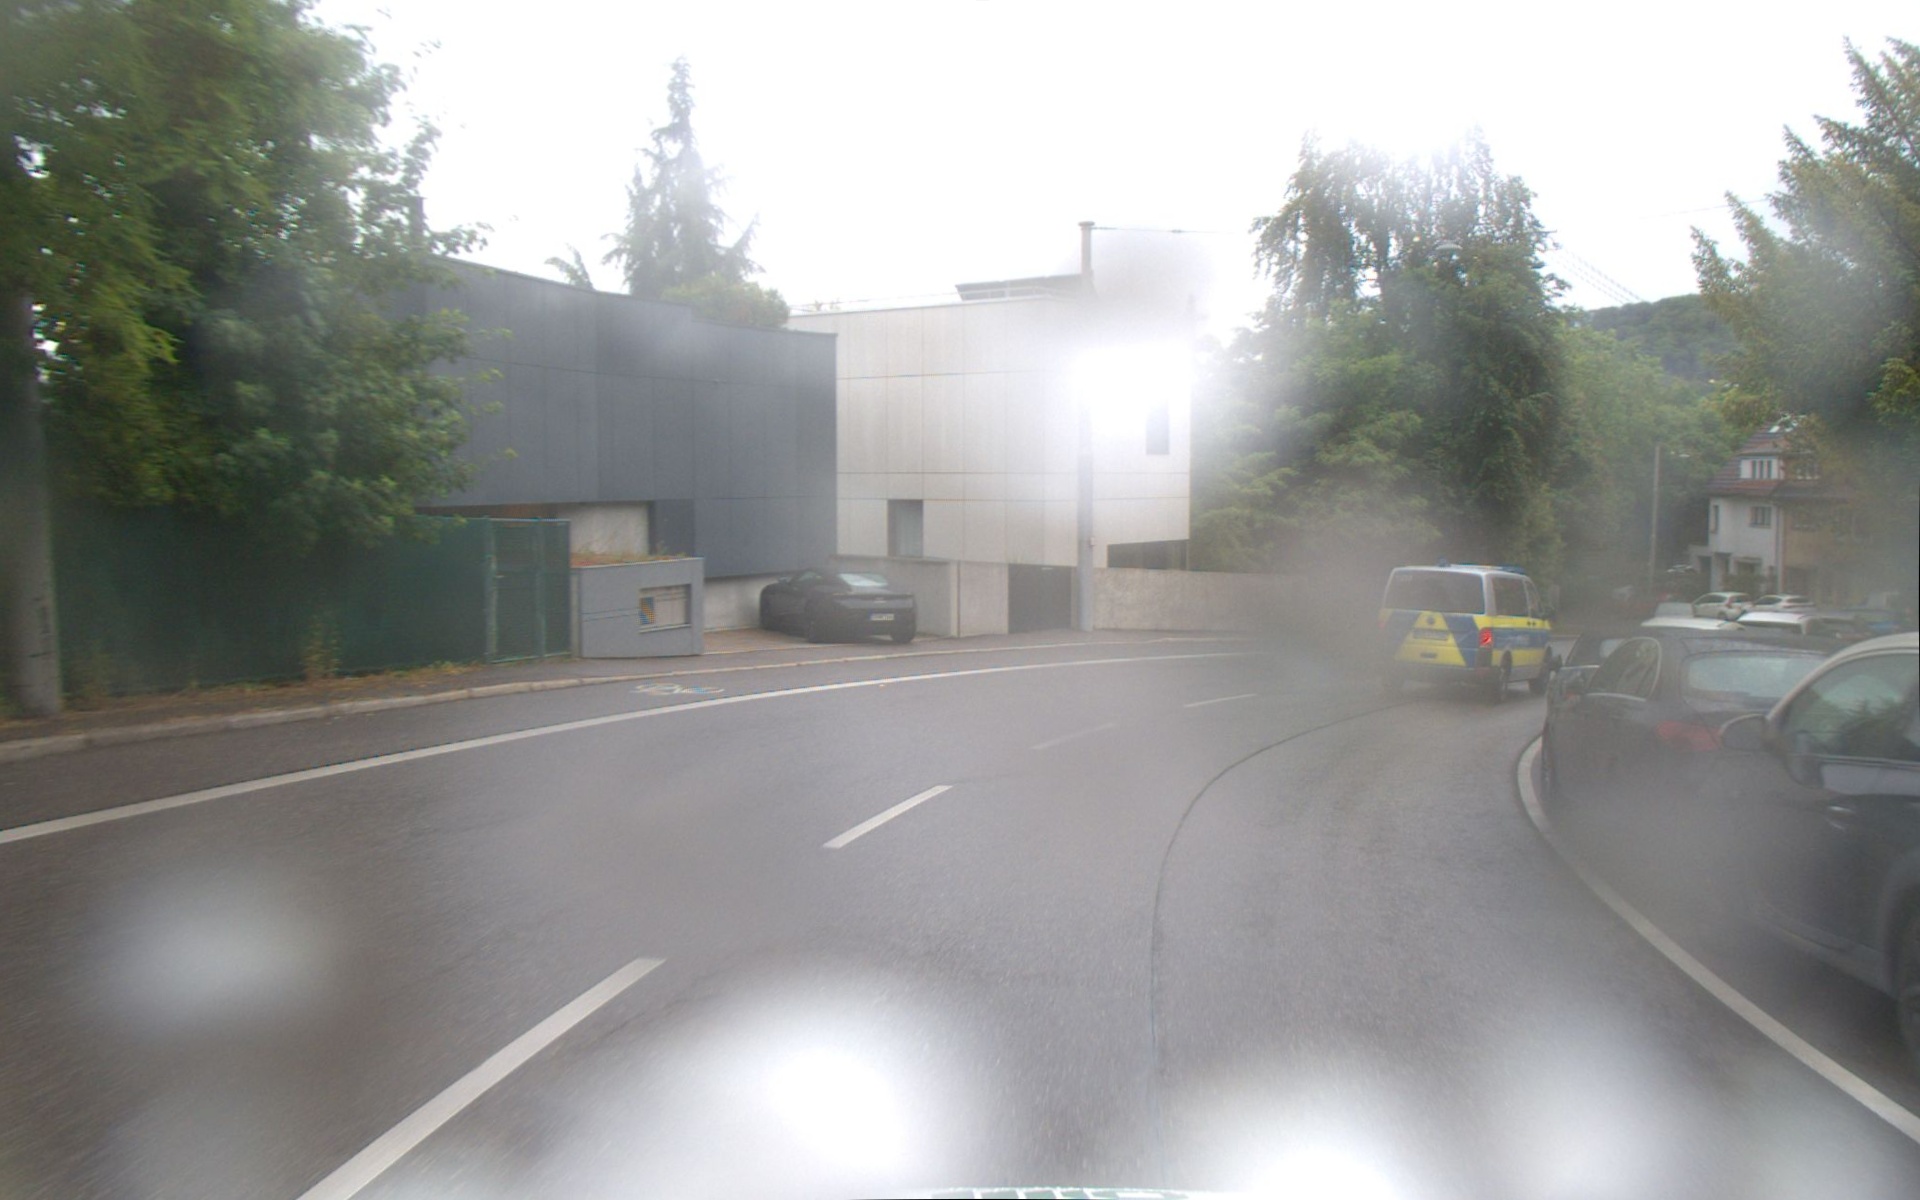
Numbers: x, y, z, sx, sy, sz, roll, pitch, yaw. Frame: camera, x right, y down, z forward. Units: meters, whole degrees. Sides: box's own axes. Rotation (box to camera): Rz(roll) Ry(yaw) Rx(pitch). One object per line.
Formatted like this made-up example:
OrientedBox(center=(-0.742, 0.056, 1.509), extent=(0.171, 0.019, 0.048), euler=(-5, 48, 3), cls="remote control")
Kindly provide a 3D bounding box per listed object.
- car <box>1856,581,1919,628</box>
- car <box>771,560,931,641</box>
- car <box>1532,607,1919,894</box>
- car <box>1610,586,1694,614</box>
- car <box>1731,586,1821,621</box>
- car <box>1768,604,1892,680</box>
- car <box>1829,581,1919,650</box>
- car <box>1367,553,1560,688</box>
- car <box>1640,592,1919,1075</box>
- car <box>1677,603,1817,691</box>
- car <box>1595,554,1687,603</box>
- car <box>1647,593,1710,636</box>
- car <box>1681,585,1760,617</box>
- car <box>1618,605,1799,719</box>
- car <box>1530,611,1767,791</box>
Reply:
OrientedBox(center=(39.207, 0.167, 69.622), extent=(1.669, 1.822, 4.329), euler=(-2, 1, 16), cls="car")
OrientedBox(center=(-2.061, -0.024, 30.145), extent=(1.864, 1.324, 3.977), euler=(1, 1, -20), cls="car")
OrientedBox(center=(5.070, 0.814, 11.058), extent=(1.768, 1.460, 4.535), euler=(-1, 0, 12), cls="car")
OrientedBox(center=(37.575, 0.002, 89.857), extent=(1.756, 1.391, 4.166), euler=(-3, 1, -23), cls="car")
OrientedBox(center=(39.524, 0.130, 80.221), extent=(1.876, 1.565, 4.411), euler=(-3, 1, -4), cls="car")
OrientedBox(center=(19.295, 0.881, 36.614), extent=(1.662, 1.480, 4.234), euler=(2, 2, 38), cls="car")
OrientedBox(center=(23.484, 0.347, 42.333), extent=(1.704, 1.621, 4.240), euler=(2, 2, 34), cls="car")
OrientedBox(center=(8.079, 0.319, 26.243), extent=(1.956, 1.926, 4.561), euler=(0, -1, 30), cls="car")
OrientedBox(center=(4.090, 0.766, 6.471), extent=(1.646, 1.497, 3.742), euler=(-2, 1, 7), cls="car")
OrientedBox(center=(15.174, 0.843, 31.781), extent=(1.776, 1.480, 4.240), euler=(2, 2, 34), cls="car")
OrientedBox(center=(39.496, -1.256, 95.957), extent=(4.309, 1.871, 2.002), euler=(-11, 2, 6), cls="car")
OrientedBox(center=(27.435, 0.528, 63.116), extent=(1.620, 1.444, 3.794), euler=(5, 3, 31), cls="car")
OrientedBox(center=(38.994, 0.045, 84.878), extent=(1.733, 1.541, 3.813), euler=(-3, 1, -11), cls="car")
OrientedBox(center=(11.125, 0.845, 24.424), extent=(1.748, 1.460, 4.556), euler=(-1, 0, 33), cls="car")
OrientedBox(center=(6.369, 0.831, 15.671), extent=(1.769, 1.371, 4.621), euler=(-1, 0, 20), cls="car")
